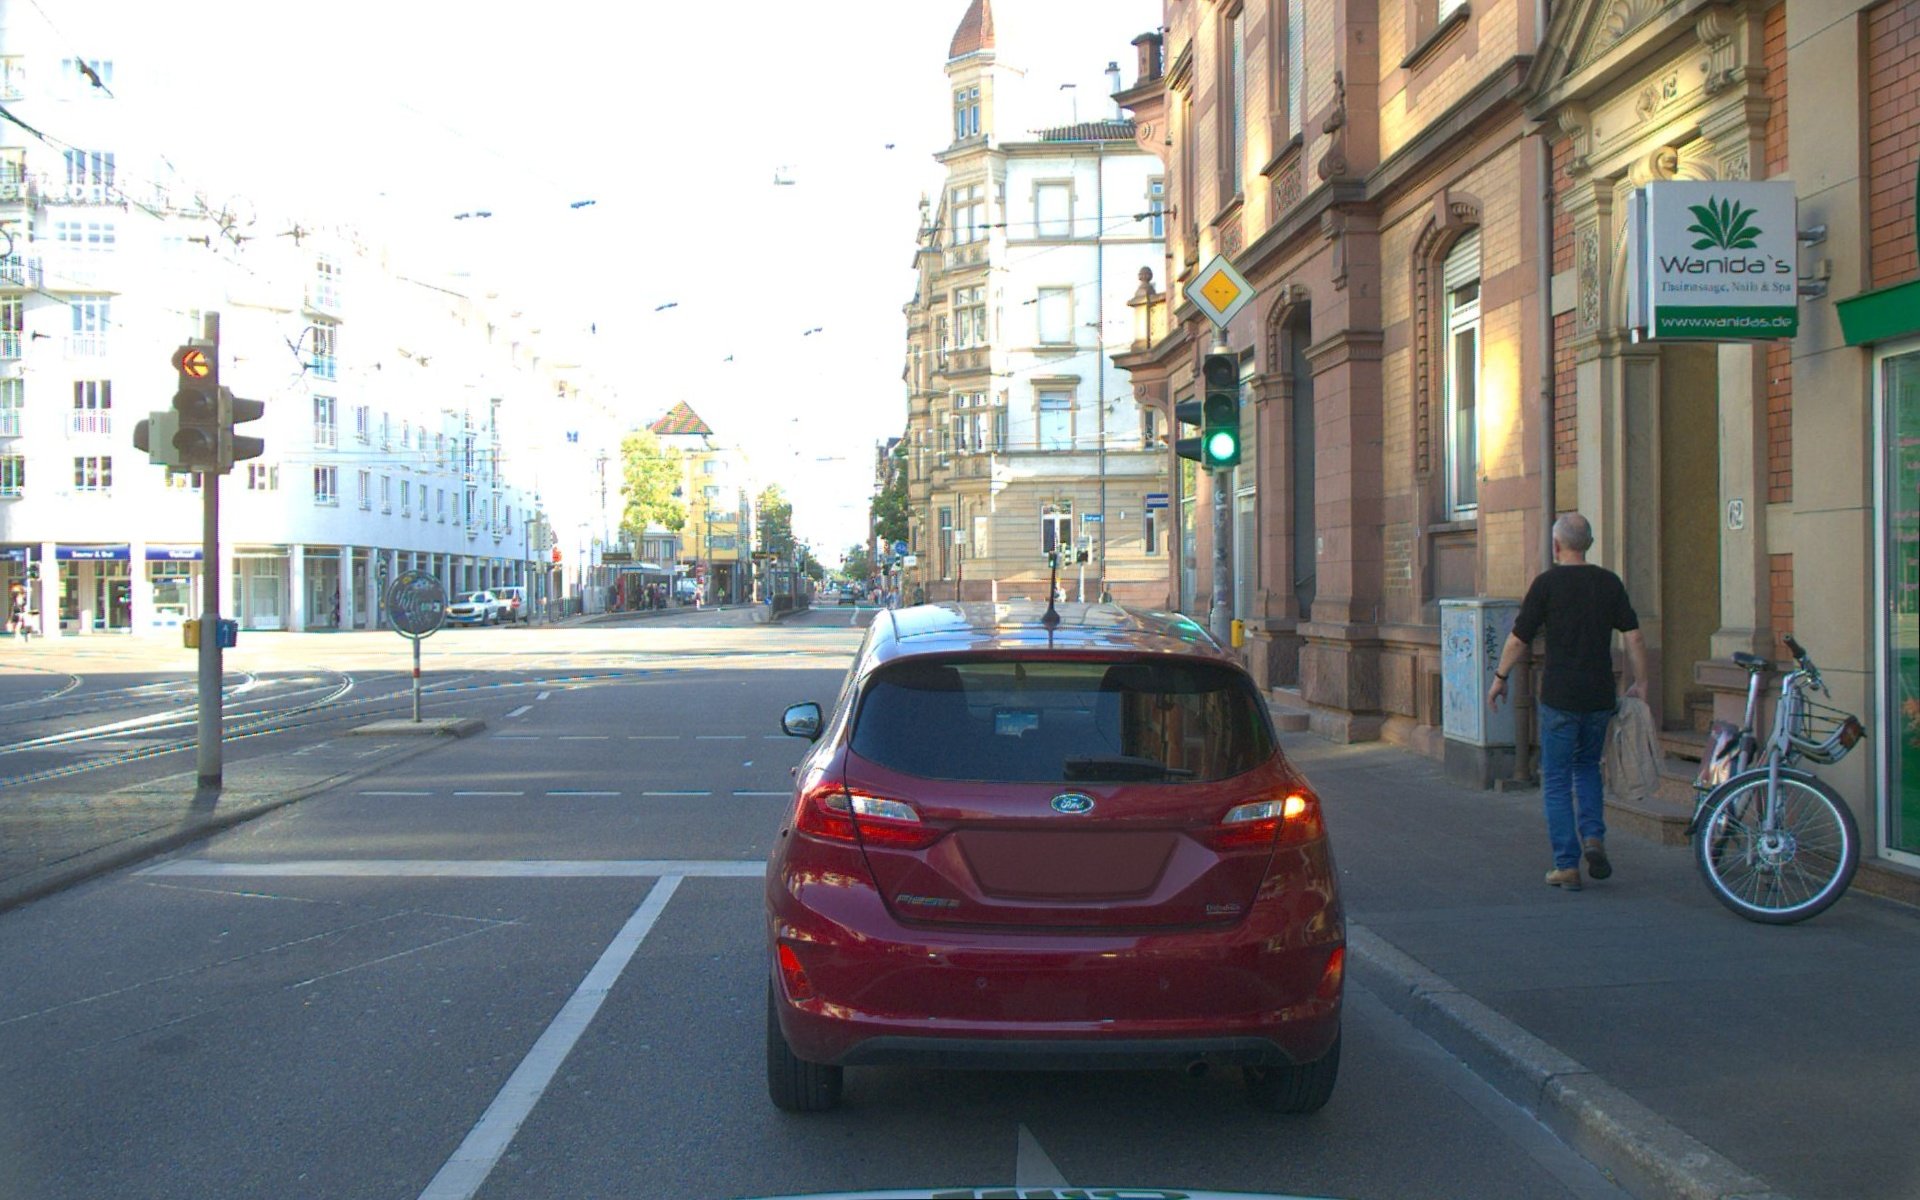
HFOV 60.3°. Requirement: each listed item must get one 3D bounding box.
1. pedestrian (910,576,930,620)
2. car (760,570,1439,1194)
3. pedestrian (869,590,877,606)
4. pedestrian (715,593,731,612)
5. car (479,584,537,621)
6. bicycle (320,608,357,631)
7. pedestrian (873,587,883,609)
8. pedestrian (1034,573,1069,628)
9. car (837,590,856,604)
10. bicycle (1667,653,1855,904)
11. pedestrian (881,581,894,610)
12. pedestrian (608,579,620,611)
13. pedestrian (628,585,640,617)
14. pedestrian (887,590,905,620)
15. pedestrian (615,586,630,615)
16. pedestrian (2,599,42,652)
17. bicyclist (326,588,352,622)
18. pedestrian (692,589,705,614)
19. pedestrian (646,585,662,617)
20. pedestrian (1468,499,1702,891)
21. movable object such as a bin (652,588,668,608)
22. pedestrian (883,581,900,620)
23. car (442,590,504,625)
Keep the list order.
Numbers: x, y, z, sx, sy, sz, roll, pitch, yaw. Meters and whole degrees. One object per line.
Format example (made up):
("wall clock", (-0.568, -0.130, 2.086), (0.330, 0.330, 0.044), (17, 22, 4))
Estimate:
("pedestrian", (-1.736, -0.076, 71.445), (0.785, 1.855, 0.797), (-2, 1, -4))
("car", (0.303, 0.688, 5.879), (1.658, 1.521, 3.579), (1, 0, -2))
("pedestrian", (-9.106, -0.236, 172.741), (0.735, 1.690, 0.650), (1, -1, -1))
("pedestrian", (-23.617, 0.246, 164.643), (1.324, 1.938, 1.465), (0, 0, -20))
("car", (-23.976, 0.132, 87.838), (1.954, 1.869, 5.342), (-1, 0, -4))
("bicycle", (-27.148, 0.825, 72.296), (0.824, 0.943, 2.264), (-1, 1, -3))
("pedestrian", (-6.927, -0.210, 140.158), (0.700, 1.805, 0.772), (-3, 1, -7))
("pedestrian", (3.100, 0.024, 56.347), (1.003, 1.838, 1.081), (-1, 0, -7))
("car", (-12.108, -0.360, 176.630), (1.954, 1.475, 3.997), (0, 0, -4))
("bicycle", (3.678, 0.782, 7.668), (0.337, 1.013, 1.241), (-2, 0, 5))
("pedestrian", (-4.661, -0.316, 106.469), (0.700, 1.805, 0.772), (-3, 1, -7))
("pedestrian", (-18.853, -0.273, 90.117), (0.587, 1.721, 0.613), (0, 0, -4))
("pedestrian", (-19.773, 0.035, 100.373), (0.682, 1.938, 0.671), (0, 0, -7))
("pedestrian", (-2.882, 0.229, 74.360), (0.703, 1.354, 0.795), (-2, -1, -6))
("pedestrian", (-19.635, 0.034, 96.289), (0.687, 1.721, 0.666), (0, 0, -28))
("pedestrian", (-31.306, 0.837, 55.205), (0.850, 1.711, 0.697), (-1, 2, 4))
("bicyclist", (-27.151, 0.211, 72.307), (0.824, 1.493, 0.896), (-1, 0, -3))
("pedestrian", (-20.469, 0.149, 129.446), (0.865, 1.938, 0.929), (0, 0, -20))
("pedestrian", (-18.902, 0.059, 102.291), (0.914, 1.938, 0.880), (0, 0, -7))
("pedestrian", (2.962, 0.426, 7.903), (0.760, 1.753, 0.754), (-2, 0, -4))
("movable object such as a bin", (-19.737, -0.117, 108.867), (0.919, 1.309, 0.933), (0, 0, -6))
("pedestrian", (-3.119, 0.038, 75.376), (0.703, 1.751, 0.795), (-2, -1, -6))
("car", (-23.535, 0.342, 80.060), (1.954, 1.648, 4.506), (-1, 0, -4))
